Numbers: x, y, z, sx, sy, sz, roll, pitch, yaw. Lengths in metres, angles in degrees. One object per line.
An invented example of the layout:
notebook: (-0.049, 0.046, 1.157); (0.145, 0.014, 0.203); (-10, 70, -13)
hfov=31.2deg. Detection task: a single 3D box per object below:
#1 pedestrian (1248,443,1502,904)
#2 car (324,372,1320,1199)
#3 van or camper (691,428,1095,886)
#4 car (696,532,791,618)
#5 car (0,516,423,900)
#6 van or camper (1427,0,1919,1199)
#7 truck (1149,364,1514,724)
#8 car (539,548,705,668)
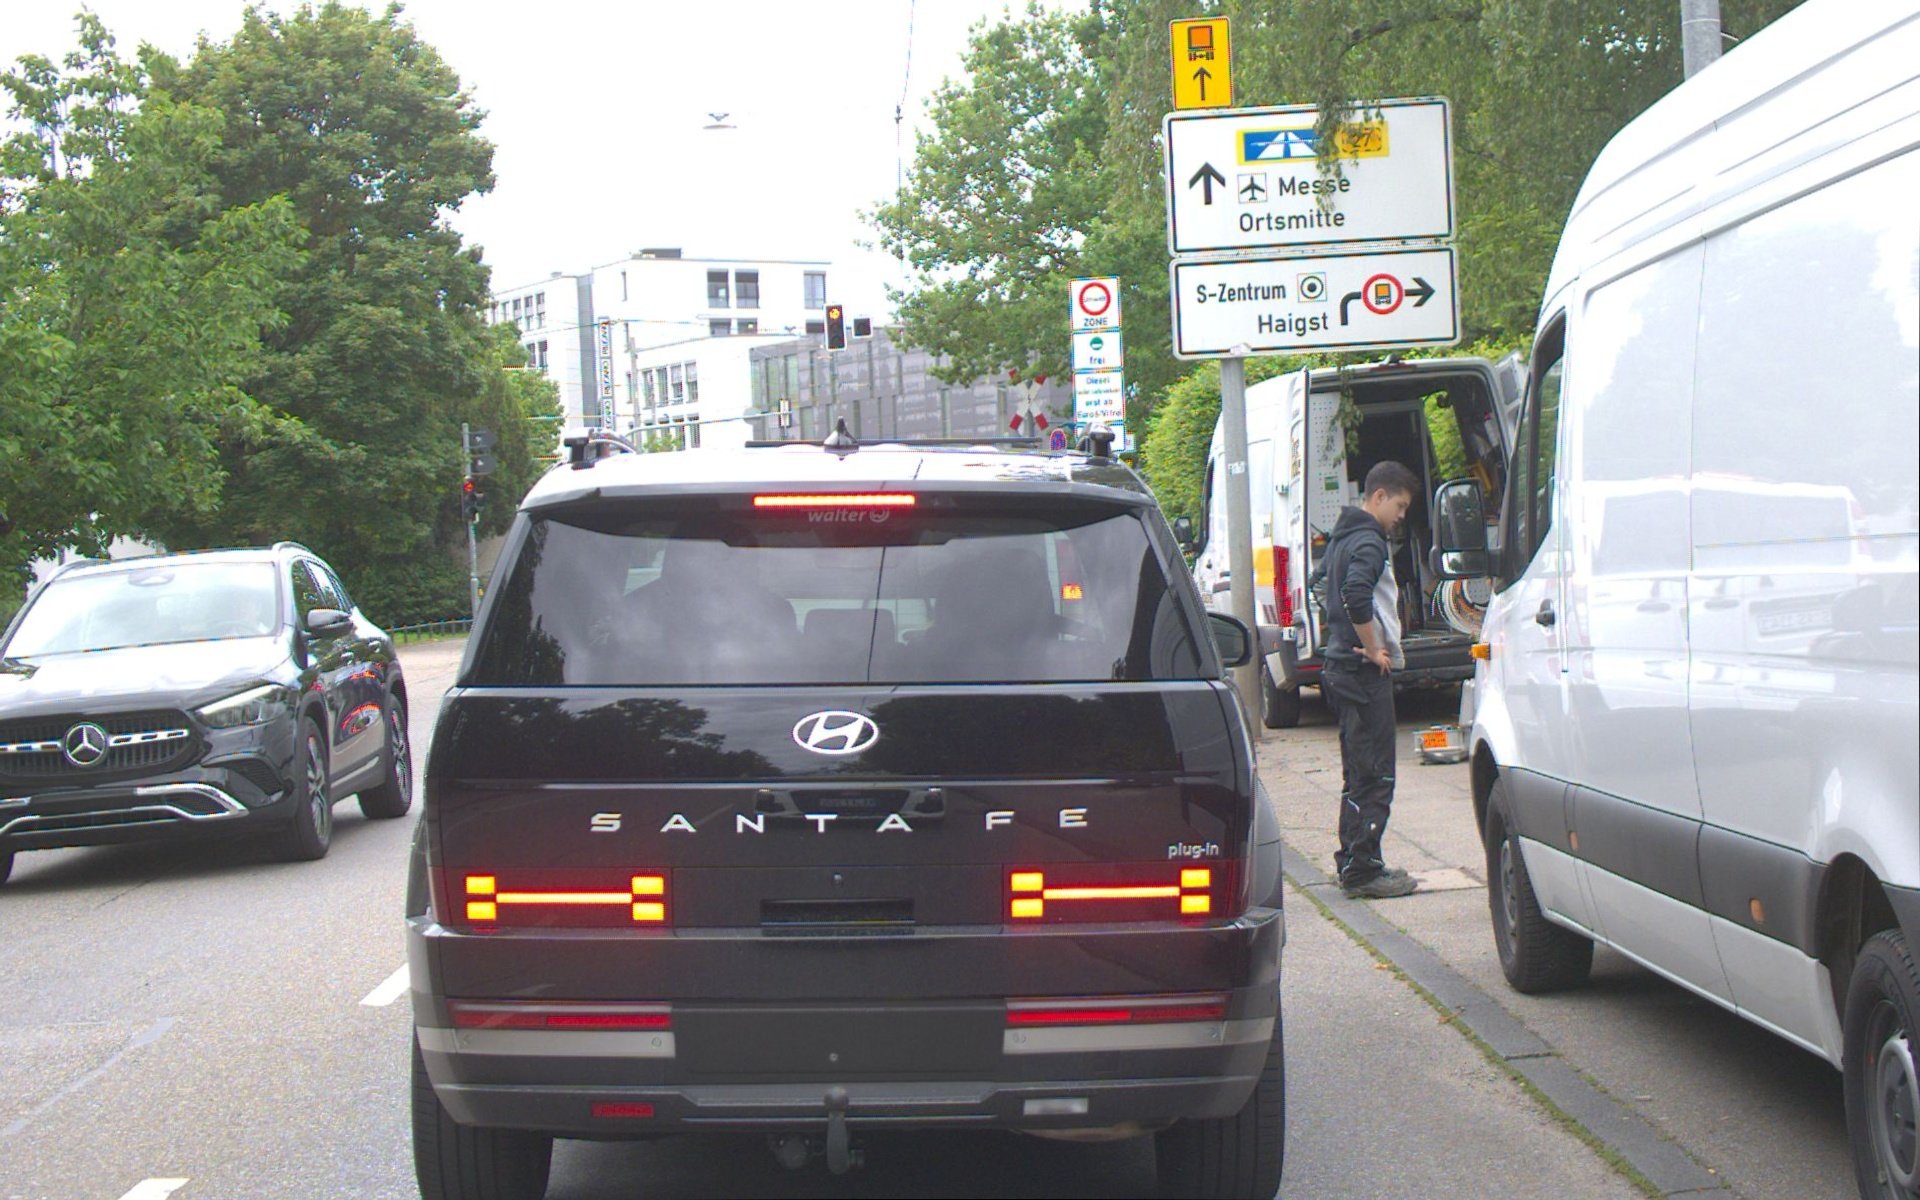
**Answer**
pedestrian: (1.670, 0.284, 13.944); (0.870, 1.791, 0.760); (-2, 1, -1)
car: (-0.283, 0.443, 8.558); (1.889, 1.813, 4.000); (0, 1, -1)
van or camper: (-0.326, 0.225, 17.501); (1.754, 2.007, 4.000); (-2, 1, -1)
car: (-4.561, -0.545, 72.810); (1.785, 1.648, 4.121); (-4, 1, -2)
car: (-4.086, 0.477, 17.805); (1.859, 1.651, 4.306); (-4, 1, -1)
van or camper: (2.625, -0.083, 8.145); (1.993, 2.611, 6.541); (-2, 1, -1)
truck: (2.899, -0.436, 28.040); (1.942, 2.553, 5.217); (-4, 1, -4)
car: (-4.663, 0.077, 47.980); (1.859, 1.448, 4.111); (-4, 1, -1)
